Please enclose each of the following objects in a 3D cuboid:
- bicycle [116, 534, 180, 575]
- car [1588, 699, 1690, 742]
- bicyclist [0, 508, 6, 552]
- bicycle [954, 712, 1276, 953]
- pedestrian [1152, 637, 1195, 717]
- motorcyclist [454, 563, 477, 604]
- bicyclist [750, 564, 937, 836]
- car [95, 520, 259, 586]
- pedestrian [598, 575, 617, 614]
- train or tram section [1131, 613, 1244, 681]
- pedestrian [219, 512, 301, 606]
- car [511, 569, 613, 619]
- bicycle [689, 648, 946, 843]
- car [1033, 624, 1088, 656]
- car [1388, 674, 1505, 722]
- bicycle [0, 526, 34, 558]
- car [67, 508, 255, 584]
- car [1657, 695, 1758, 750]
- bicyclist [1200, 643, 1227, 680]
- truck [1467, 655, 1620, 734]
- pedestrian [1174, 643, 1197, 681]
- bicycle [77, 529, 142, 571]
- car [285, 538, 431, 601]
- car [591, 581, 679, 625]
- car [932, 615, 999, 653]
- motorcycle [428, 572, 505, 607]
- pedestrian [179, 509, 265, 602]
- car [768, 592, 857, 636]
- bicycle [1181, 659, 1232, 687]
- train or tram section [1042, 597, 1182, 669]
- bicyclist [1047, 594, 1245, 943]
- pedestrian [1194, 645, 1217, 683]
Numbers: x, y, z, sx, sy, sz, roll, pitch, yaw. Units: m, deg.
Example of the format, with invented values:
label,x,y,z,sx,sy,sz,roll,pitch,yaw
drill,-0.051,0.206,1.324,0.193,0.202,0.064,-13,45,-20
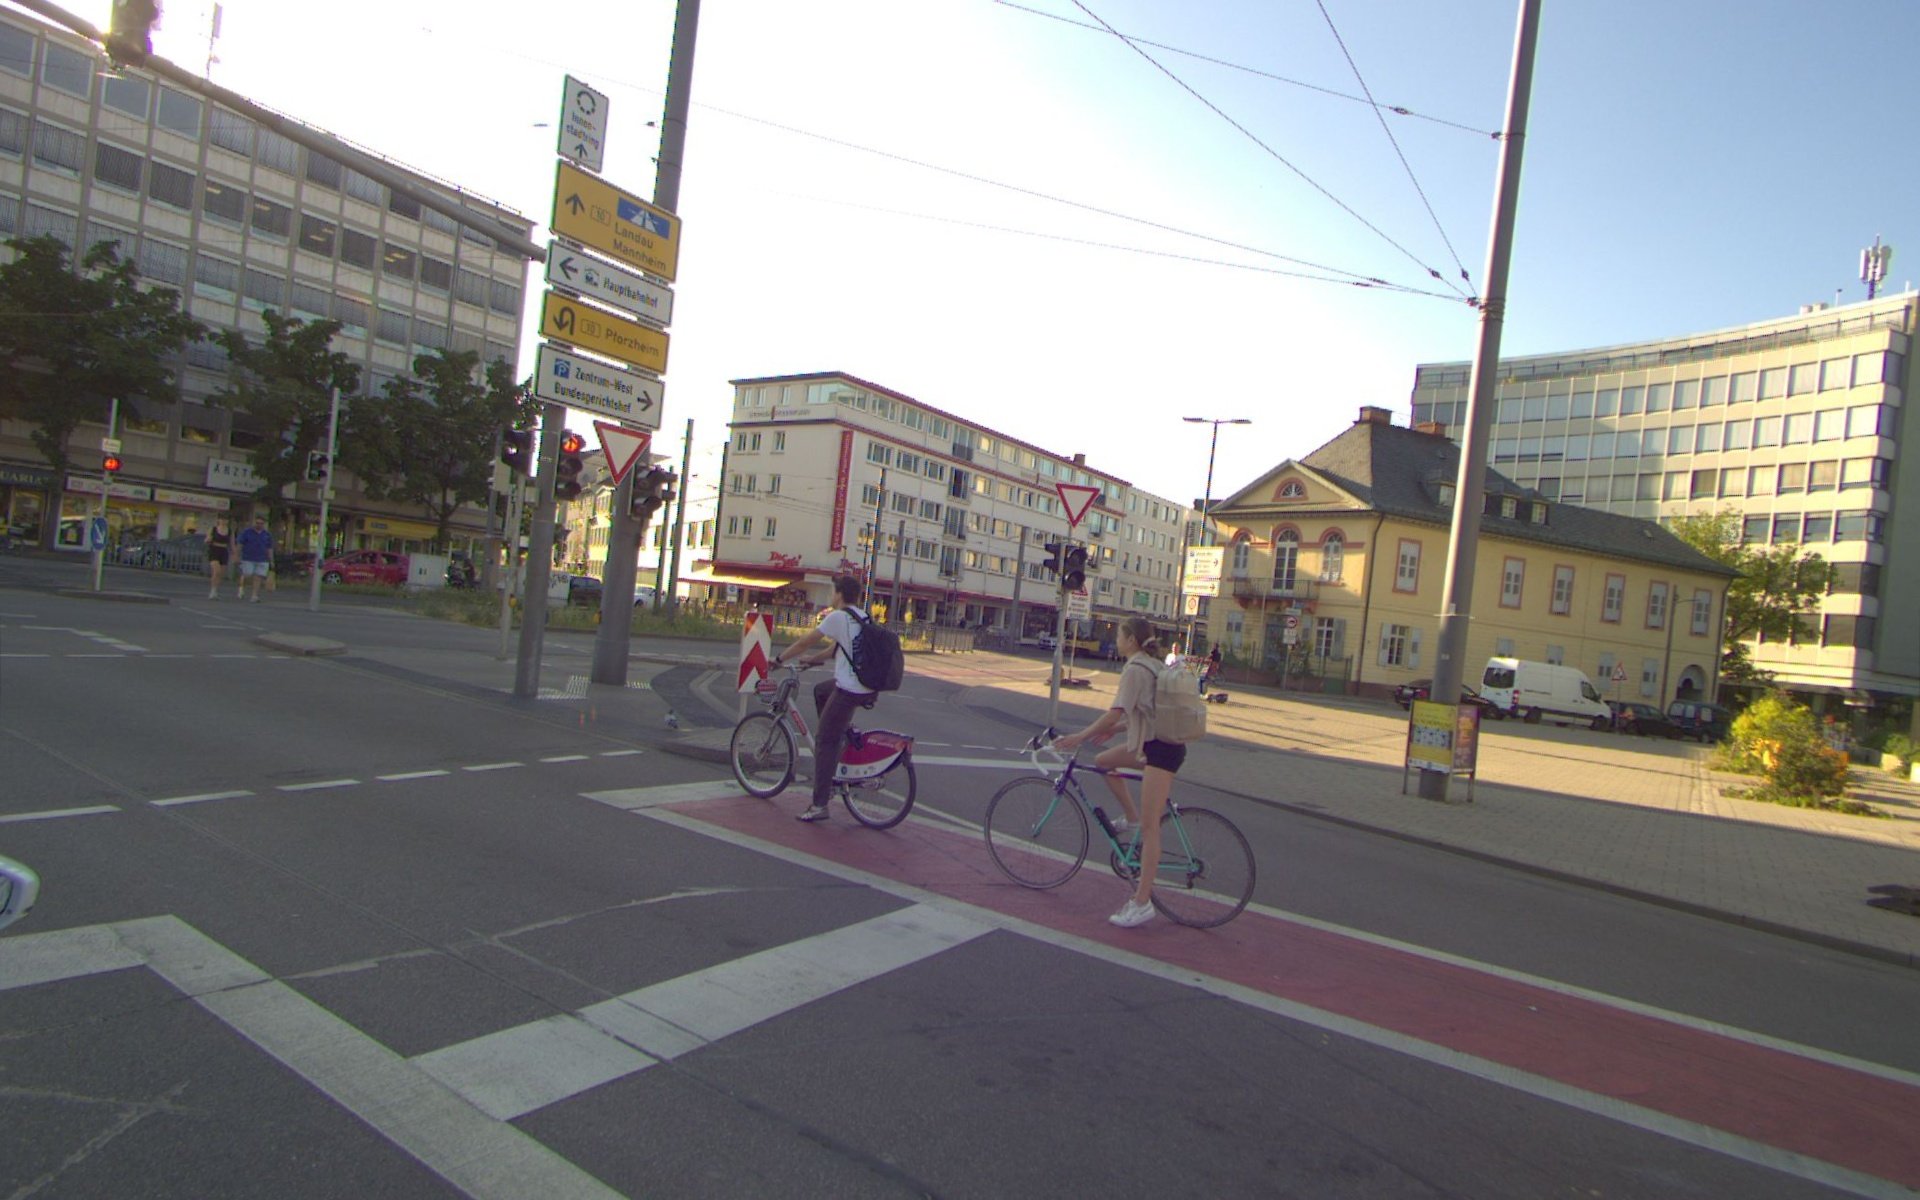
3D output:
label,x,y,z,sx,sy,sz,roll,pitch,yaw
bicycle,-30.913,-1.731,38.283,2.594,1.157,0.751,9,0,26
car,30.153,5.343,44.679,3.706,1.380,1.709,8,-2,-17
bicyclist,-32.466,-2.386,33.551,0.660,1.440,0.680,6,-2,31
bicycle,0.880,1.274,5.835,1.664,1.012,0.543,6,-2,27
pedestrian,5.084,1.824,23.914,0.746,1.782,1.009,6,-1,16
motorcyclist,-19.311,-0.656,39.260,0.527,1.526,0.460,6,-1,37
bicyclist,-0.849,0.700,7.349,1.042,1.788,0.543,6,-1,27
car,-27.309,-1.615,35.193,1.816,1.636,4.071,6,-3,36
pedestrian,-19.243,-0.295,54.911,0.622,2.037,0.708,8,-1,-35
train or tram section,18.225,3.871,79.655,3.659,3.875,12.954,6,-4,36
pedestrian,-14.730,-0.842,21.196,1.024,1.814,0.697,7,-1,-6
car,-17.006,-0.205,43.206,1.809,1.636,4.005,6,-2,18
bicycle,-1.071,1.024,7.422,1.777,1.113,0.543,6,-2,27
car,8.153,3.279,81.543,1.971,2.036,4.858,6,-3,38
car,19.665,3.945,40.711,4.132,1.380,1.709,8,-2,-17
bicycle,-32.452,-2.022,33.634,0.660,0.951,2.029,6,-3,31
car,-23.930,-1.581,30.264,1.816,1.636,3.990,6,-3,36
car,34.215,5.603,46.057,3.706,2.003,1.709,8,-2,-17
bicyclist,10.981,2.652,43.575,0.881,1.474,0.725,7,-1,3
truck,24.881,4.017,42.914,5.556,2.578,2.294,8,-2,-17
pedestrian,10.314,2.848,46.104,0.802,1.661,0.687,7,-1,8
bicycle,-31.494,-1.861,37.240,2.594,1.157,0.751,9,0,26
car,-21.461,-1.047,35.994,1.816,1.636,3.990,6,-3,36
car,-15.518,0.183,48.299,1.810,1.636,4.004,6,-2,20
car,0.429,2.379,69.812,1.971,2.036,4.858,6,-3,38
motorcycle,-19.271,-0.388,39.350,0.527,1.012,2.664,6,-3,36
pedestrian,-14.959,-0.879,20.412,1.024,1.702,0.697,7,-1,-6
car,-8.266,0.784,56.593,4.602,1.863,1.880,9,-3,-44
bicycle,10.669,3.160,43.572,1.954,0.959,0.725,7,-2,3
train or tram section,10.705,2.418,68.913,3.658,3.879,13.322,6,-1,35
bicyclist,1.069,0.908,5.728,0.778,1.766,0.615,6,-1,27
pedestrian,11.228,2.923,46.016,0.802,1.661,0.687,7,-1,10
